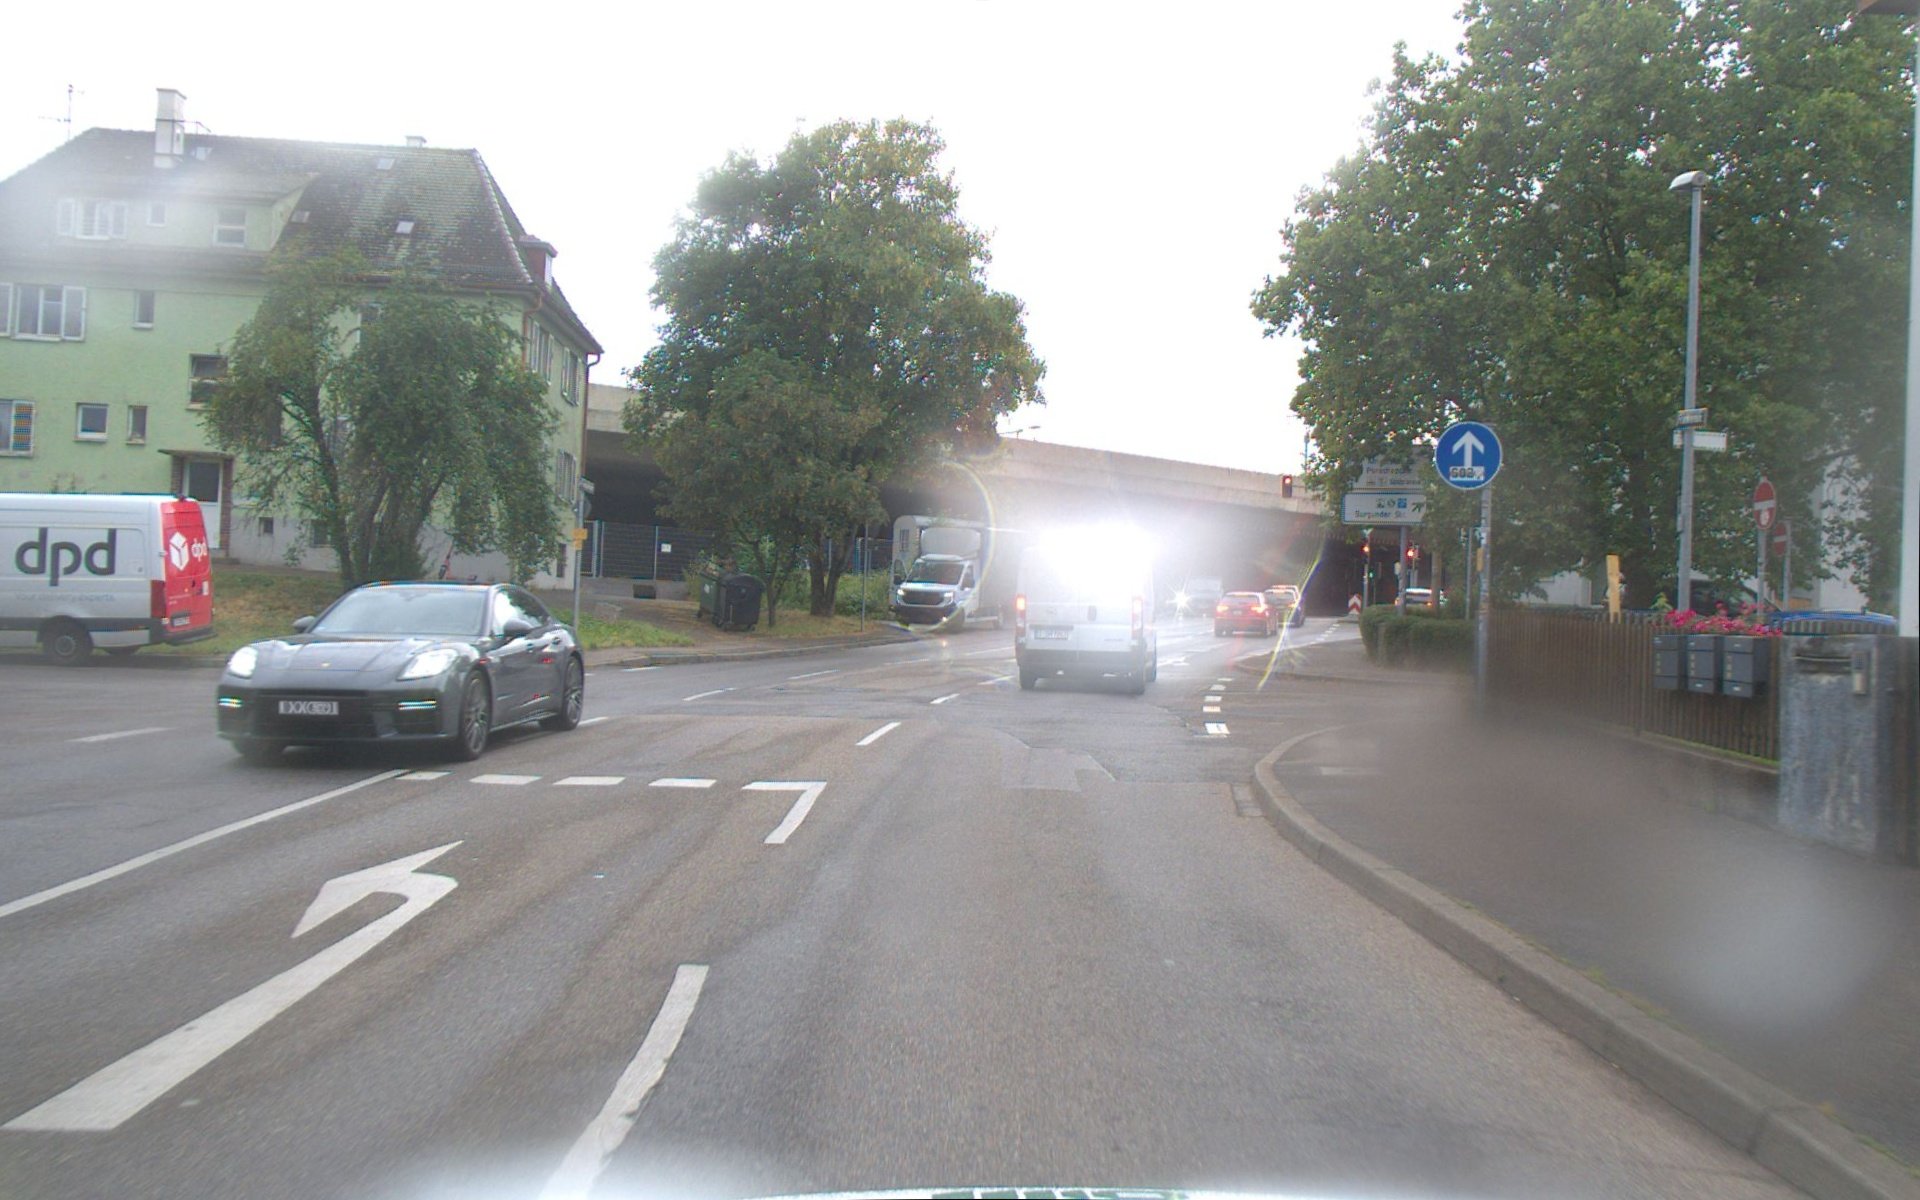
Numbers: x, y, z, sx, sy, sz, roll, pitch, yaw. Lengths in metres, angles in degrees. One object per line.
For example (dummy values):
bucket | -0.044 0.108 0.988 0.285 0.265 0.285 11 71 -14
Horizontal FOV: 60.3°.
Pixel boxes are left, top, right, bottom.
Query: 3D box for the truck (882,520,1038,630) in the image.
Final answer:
truck | 0.157 -0.776 53.955 2.556 3.293 7.778 2 1 20

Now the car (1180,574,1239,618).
car | 11.813 -0.197 78.060 1.917 1.965 4.685 1 1 19

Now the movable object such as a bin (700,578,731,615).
movable object such as a bin | -6.661 -0.088 45.159 0.545 0.974 0.724 2 0 18

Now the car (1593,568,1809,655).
car | 17.836 0.267 39.966 4.312 1.965 1.999 1 0 -3

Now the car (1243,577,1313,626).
car | 12.319 0.066 63.867 1.952 1.759 4.000 2 0 21

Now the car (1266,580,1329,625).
car | 14.286 0.119 69.815 1.953 1.759 4.000 2 0 21

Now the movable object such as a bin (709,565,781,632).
movable object such as a bin | -5.514 -0.047 42.410 1.276 1.461 1.450 5 4 -29

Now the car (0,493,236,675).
car | -15.450 -0.316 26.411 6.664 2.702 2.262 2 0 -2

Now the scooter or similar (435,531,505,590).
scooter or similar | -12.140 -0.972 40.976 1.489 1.295 0.531 6 1 13

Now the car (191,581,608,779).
car | -4.718 0.589 14.803 1.952 1.468 4.776 1 0 2

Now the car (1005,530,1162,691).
car | 2.187 0.163 27.798 2.256 2.384 5.286 2 0 8

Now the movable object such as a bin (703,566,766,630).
movable object such as a bin | -5.978 -0.070 43.806 1.085 1.461 1.450 5 4 -29

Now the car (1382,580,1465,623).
car | 18.072 0.065 64.396 1.958 1.576 3.988 2 0 33

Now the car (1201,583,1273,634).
car | 9.106 0.284 54.176 1.951 1.539 4.003 2 0 14
